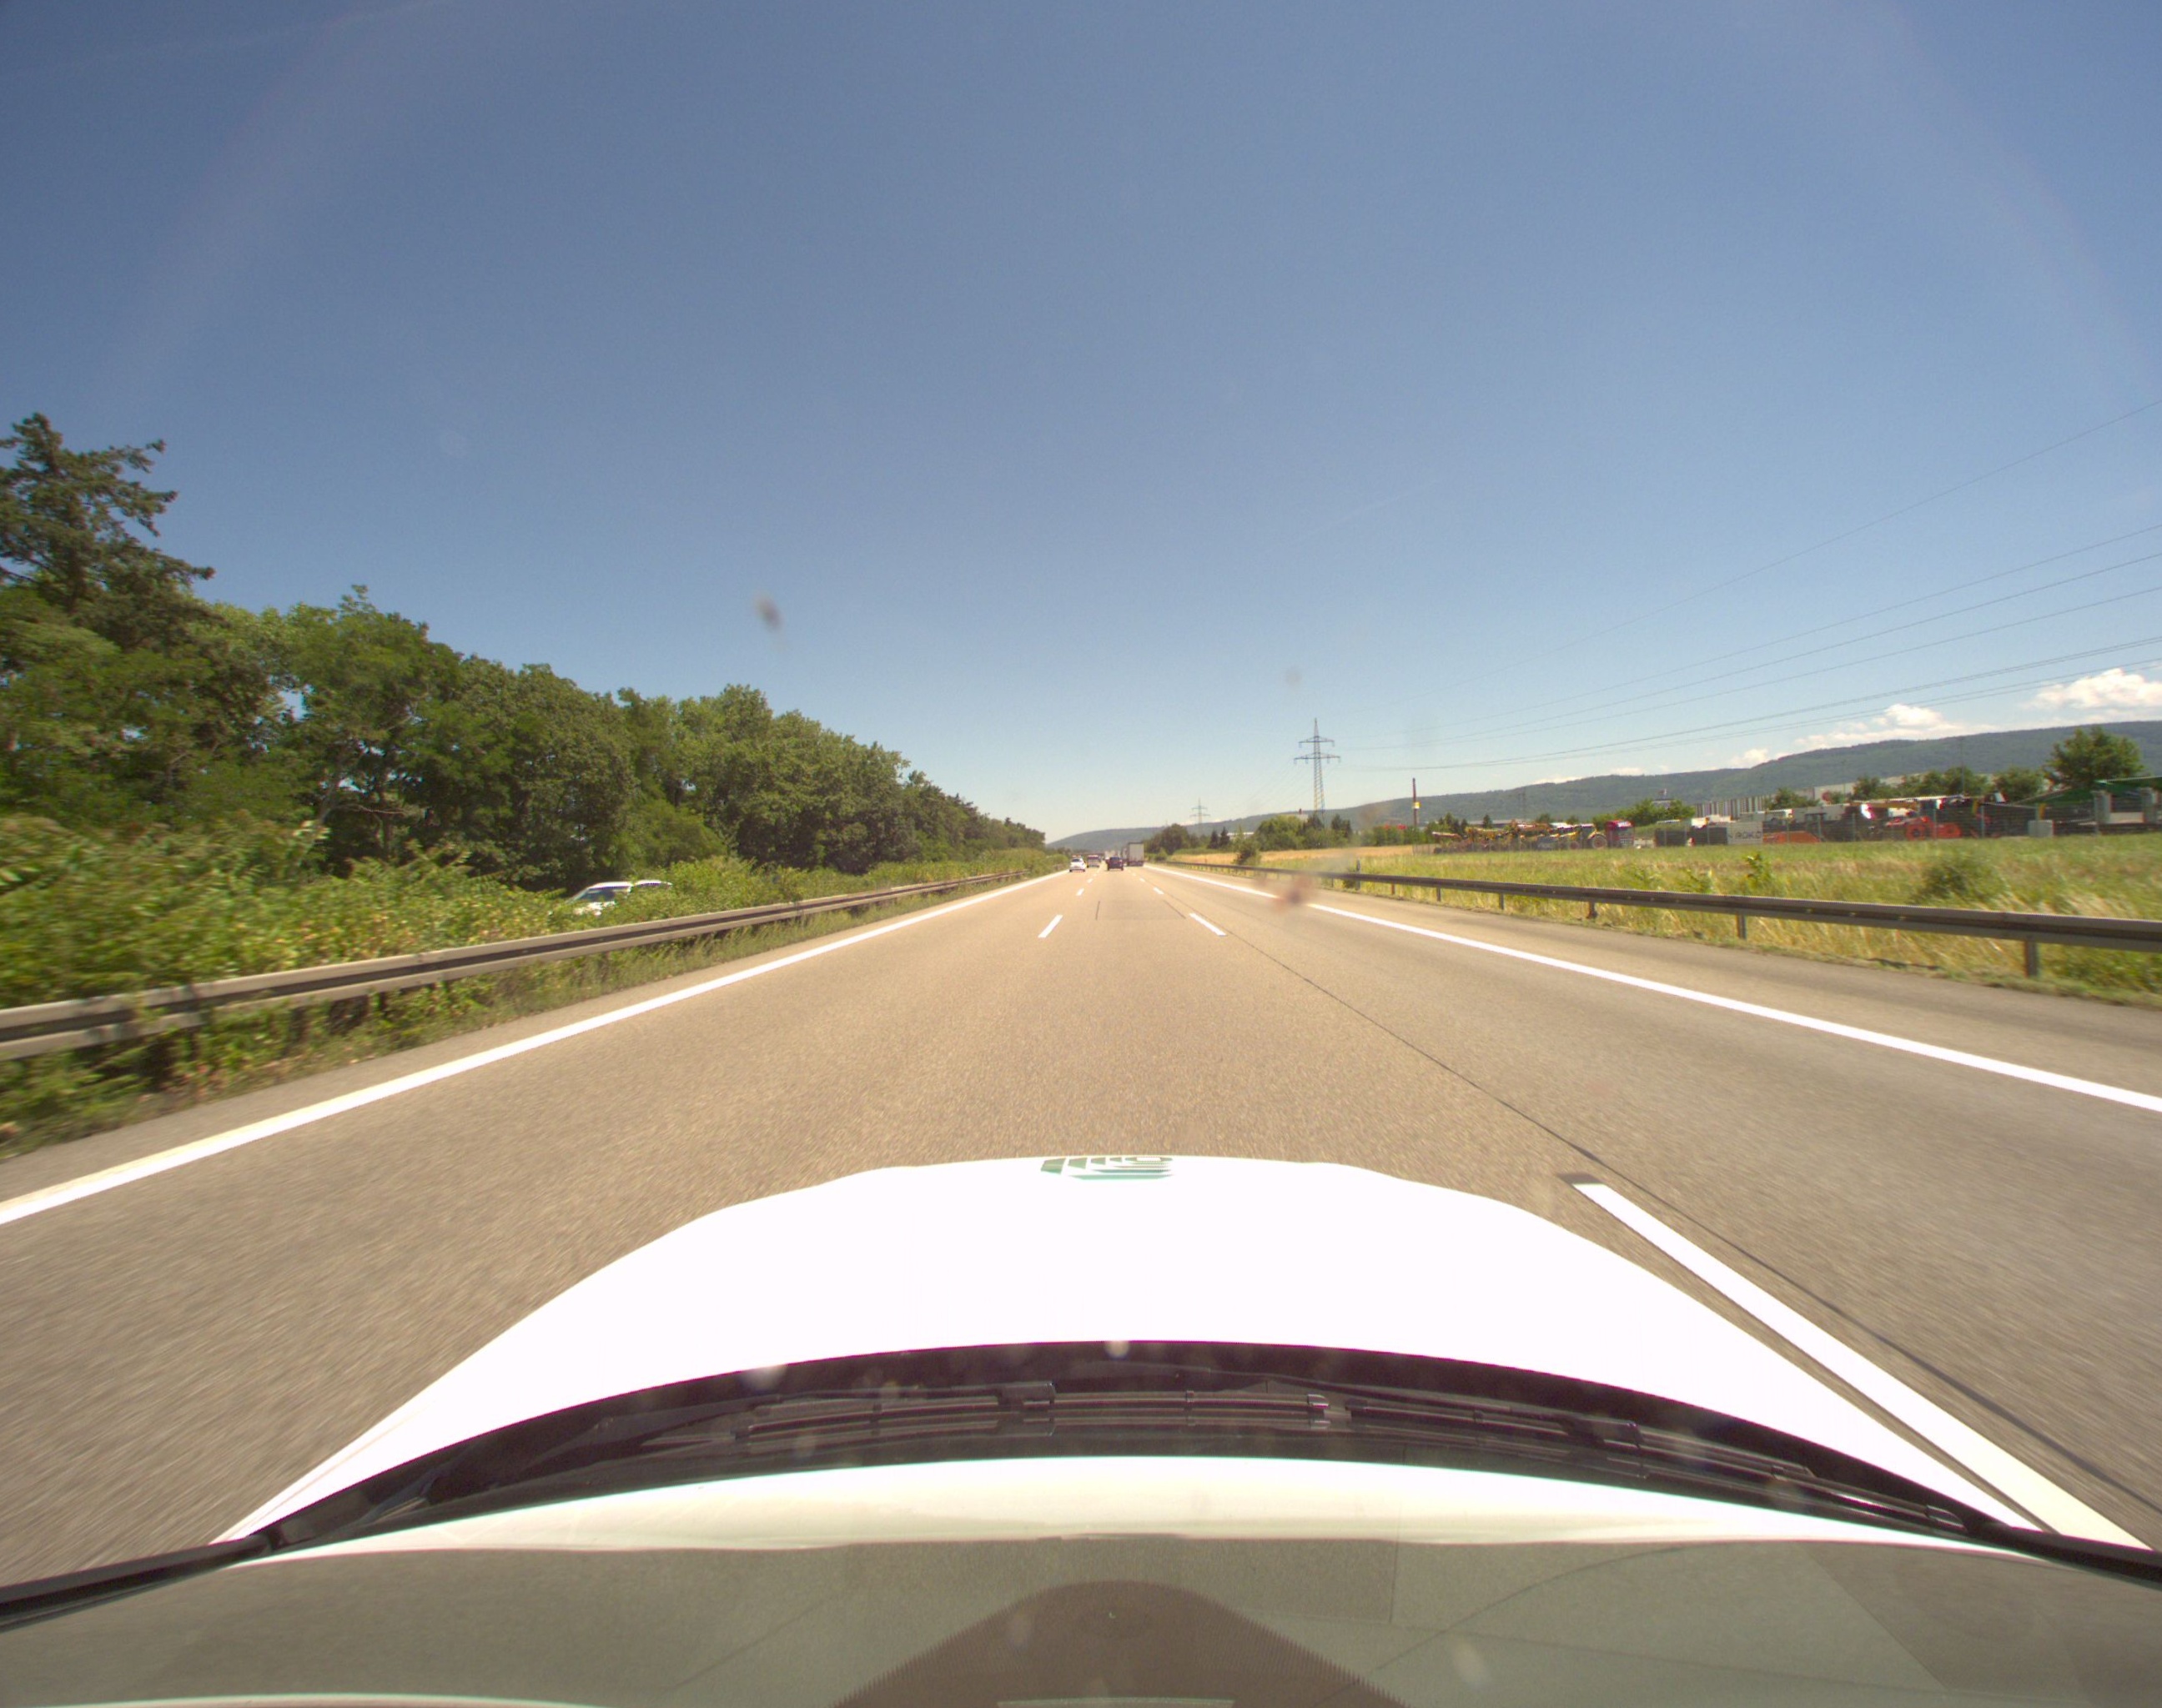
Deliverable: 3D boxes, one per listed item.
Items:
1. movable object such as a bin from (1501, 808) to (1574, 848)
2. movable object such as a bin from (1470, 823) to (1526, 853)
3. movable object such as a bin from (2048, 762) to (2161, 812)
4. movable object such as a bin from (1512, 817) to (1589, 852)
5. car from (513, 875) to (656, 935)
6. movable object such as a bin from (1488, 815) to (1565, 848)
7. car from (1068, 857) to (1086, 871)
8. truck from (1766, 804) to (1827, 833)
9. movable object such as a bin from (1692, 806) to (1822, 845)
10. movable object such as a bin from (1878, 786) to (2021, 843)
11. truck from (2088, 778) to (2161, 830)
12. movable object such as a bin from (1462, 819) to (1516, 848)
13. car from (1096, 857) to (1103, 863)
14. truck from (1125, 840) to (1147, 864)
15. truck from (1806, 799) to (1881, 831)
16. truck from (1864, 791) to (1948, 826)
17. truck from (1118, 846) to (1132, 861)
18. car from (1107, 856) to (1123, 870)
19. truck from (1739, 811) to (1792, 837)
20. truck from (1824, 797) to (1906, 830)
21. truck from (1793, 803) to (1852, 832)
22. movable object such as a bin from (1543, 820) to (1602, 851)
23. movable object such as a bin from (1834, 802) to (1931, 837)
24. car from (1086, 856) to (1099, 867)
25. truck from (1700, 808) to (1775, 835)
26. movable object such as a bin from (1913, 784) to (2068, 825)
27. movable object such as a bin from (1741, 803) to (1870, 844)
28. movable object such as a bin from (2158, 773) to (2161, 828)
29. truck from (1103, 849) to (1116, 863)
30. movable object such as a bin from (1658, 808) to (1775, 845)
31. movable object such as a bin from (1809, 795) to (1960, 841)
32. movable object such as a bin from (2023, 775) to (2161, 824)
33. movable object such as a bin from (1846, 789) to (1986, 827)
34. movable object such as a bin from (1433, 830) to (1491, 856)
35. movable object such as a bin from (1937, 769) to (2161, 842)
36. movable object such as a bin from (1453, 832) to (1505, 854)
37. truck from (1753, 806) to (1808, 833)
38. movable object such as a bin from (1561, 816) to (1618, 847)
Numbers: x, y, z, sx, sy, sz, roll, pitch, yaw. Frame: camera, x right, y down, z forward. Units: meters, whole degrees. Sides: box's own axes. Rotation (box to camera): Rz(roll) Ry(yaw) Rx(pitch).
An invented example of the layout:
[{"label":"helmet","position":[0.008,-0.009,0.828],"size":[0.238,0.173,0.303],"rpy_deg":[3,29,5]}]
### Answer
[{"label":"movable object such as a bin","position":[58.659,-3.316,104.821],"size":[7.474,4.527,3.110],"rpy_deg":[-4,-1,9]},{"label":"movable object such as a bin","position":[57.818,-2.241,112.942],"size":[6.312,3.732,2.500],"rpy_deg":[-4,-1,7]},{"label":"movable object such as a bin","position":[74.645,-4.827,55.314],"size":[11.082,2.946,3.026],"rpy_deg":[-4,-1,27]},{"label":"movable object such as a bin","position":[58.101,-2.342,101.012],"size":[7.474,3.783,3.110],"rpy_deg":[-4,-1,9]},{"label":"car","position":[-12.297,1.222,20.420],"size":[1.385,1.270,3.439],"rpy_deg":[0,0,2]},{"label":"movable object such as a bin","position":[59.269,-2.969,108.575],"size":[8.138,3.732,3.345],"rpy_deg":[-4,-1,9]},{"label":"car","position":[-0.441,1.113,89.762],"size":[1.799,1.468,4.002],"rpy_deg":[0,0,2]},{"label":"truck","position":[94.565,-4.717,107.672],"size":[5.708,3.418,3.196],"rpy_deg":[-3,-1,-13]},{"label":"movable object such as a bin","position":[57.036,-2.342,69.006],"size":[7.758,2.688,3.196],"rpy_deg":[-4,0,25]},{"label":"movable object such as a bin","position":[56.899,-2.531,53.519],"size":[5.784,3.196,2.533],"rpy_deg":[-4,-1,16]},{"label":"truck","position":[55.798,-2.671,41.343],"size":[5.514,2.463,2.662],"rpy_deg":[-3,-1,7]},{"label":"movable object such as a bin","position":[58.360,-2.910,116.520],"size":[6.312,3.732,2.278],"rpy_deg":[-4,-1,7]},{"label":"car","position":[5.195,1.636,231.958],"size":[1.845,1.633,4.002],"rpy_deg":[0,0,2]},{"label":"truck","position":[9.445,-0.307,140.144],"size":[3.253,3.857,11.635],"rpy_deg":[0,0,1]},{"label":"truck","position":[90.146,-4.568,96.321],"size":[6.347,3.255,3.334],"rpy_deg":[-3,-1,-12]},{"label":"truck","position":[85.298,-4.672,84.230],"size":[6.343,3.149,2.912],"rpy_deg":[-3,-1,-10]},{"label":"truck","position":[10.824,-0.158,200.525],"size":[3.086,3.474,11.546],"rpy_deg":[0,0,1]},{"label":"car","position":[3.977,1.022,95.022],"size":[1.877,1.515,4.002],"rpy_deg":[0,0,2]},{"label":"truck","position":[98.581,-4.325,117.337],"size":[5.708,3.418,2.900],"rpy_deg":[-3,-1,-13]},{"label":"truck","position":[88.309,-4.549,91.808],"size":[6.336,3.255,3.243],"rpy_deg":[-3,-1,-6]},{"label":"truck","position":[91.483,-4.521,100.504],"size":[5.323,3.208,2.839],"rpy_deg":[-3,-1,-13]},{"label":"movable object such as a bin","position":[58.457,-2.125,96.971],"size":[5.226,3.293,2.795],"rpy_deg":[-4,-1,9]},{"label":"movable object such as a bin","position":[78.261,-3.352,79.643],"size":[6.297,2.880,2.283],"rpy_deg":[-3,-1,16]},{"label":"car","position":[1.771,1.108,125.201],"size":[1.845,1.633,4.002],"rpy_deg":[0,0,2]},{"label":"truck","position":[80.608,-3.958,100.115],"size":[6.314,2.821,3.351],"rpy_deg":[-3,-1,4]},{"label":"movable object such as a bin","position":[77.194,-4.143,69.365],"size":[8.334,2.688,2.620],"rpy_deg":[-4,-1,25]},{"label":"movable object such as a bin","position":[56.868,-2.361,64.160],"size":[6.818,2.688,3.196],"rpy_deg":[-4,0,24]},{"label":"movable object such as a bin","position":[76.368,-3.852,50.209],"size":[11.573,3.610,2.992],"rpy_deg":[-4,-1,33]},{"label":"truck","position":[7.240,0.446,207.380],"size":[3.086,3.474,11.546],"rpy_deg":[0,0,1]},{"label":"movable object such as a bin","position":[57.347,-2.418,73.775],"size":[7.758,2.688,3.196],"rpy_deg":[-4,0,25]},{"label":"movable object such as a bin","position":[56.705,-2.468,57.702],"size":[6.827,2.688,3.191],"rpy_deg":[-4,0,16]},{"label":"movable object such as a bin","position":[74.854,-3.968,58.847],"size":[8.334,2.946,2.926],"rpy_deg":[-4,-1,25]},{"label":"movable object such as a bin","position":[75.562,-4.148,73.923],"size":[8.334,2.688,2.756],"rpy_deg":[-4,-1,25]},{"label":"movable object such as a bin","position":[57.777,-1.655,123.648],"size":[7.505,3.402,2.278],"rpy_deg":[-4,-1,7]},{"label":"movable object such as a bin","position":[55.925,-2.712,45.911],"size":[10.157,3.415,2.537],"rpy_deg":[-4,-1,27]},{"label":"movable object such as a bin","position":[58.546,-1.640,119.854],"size":[6.312,2.880,2.278],"rpy_deg":[-4,-1,7]},{"label":"truck","position":[96.321,-4.730,112.155],"size":[5.708,3.418,2.760],"rpy_deg":[-3,-1,-13]},{"label":"movable object such as a bin","position":[57.527,-2.514,92.246],"size":[4.786,3.196,2.303],"rpy_deg":[-4,-1,9]}]
